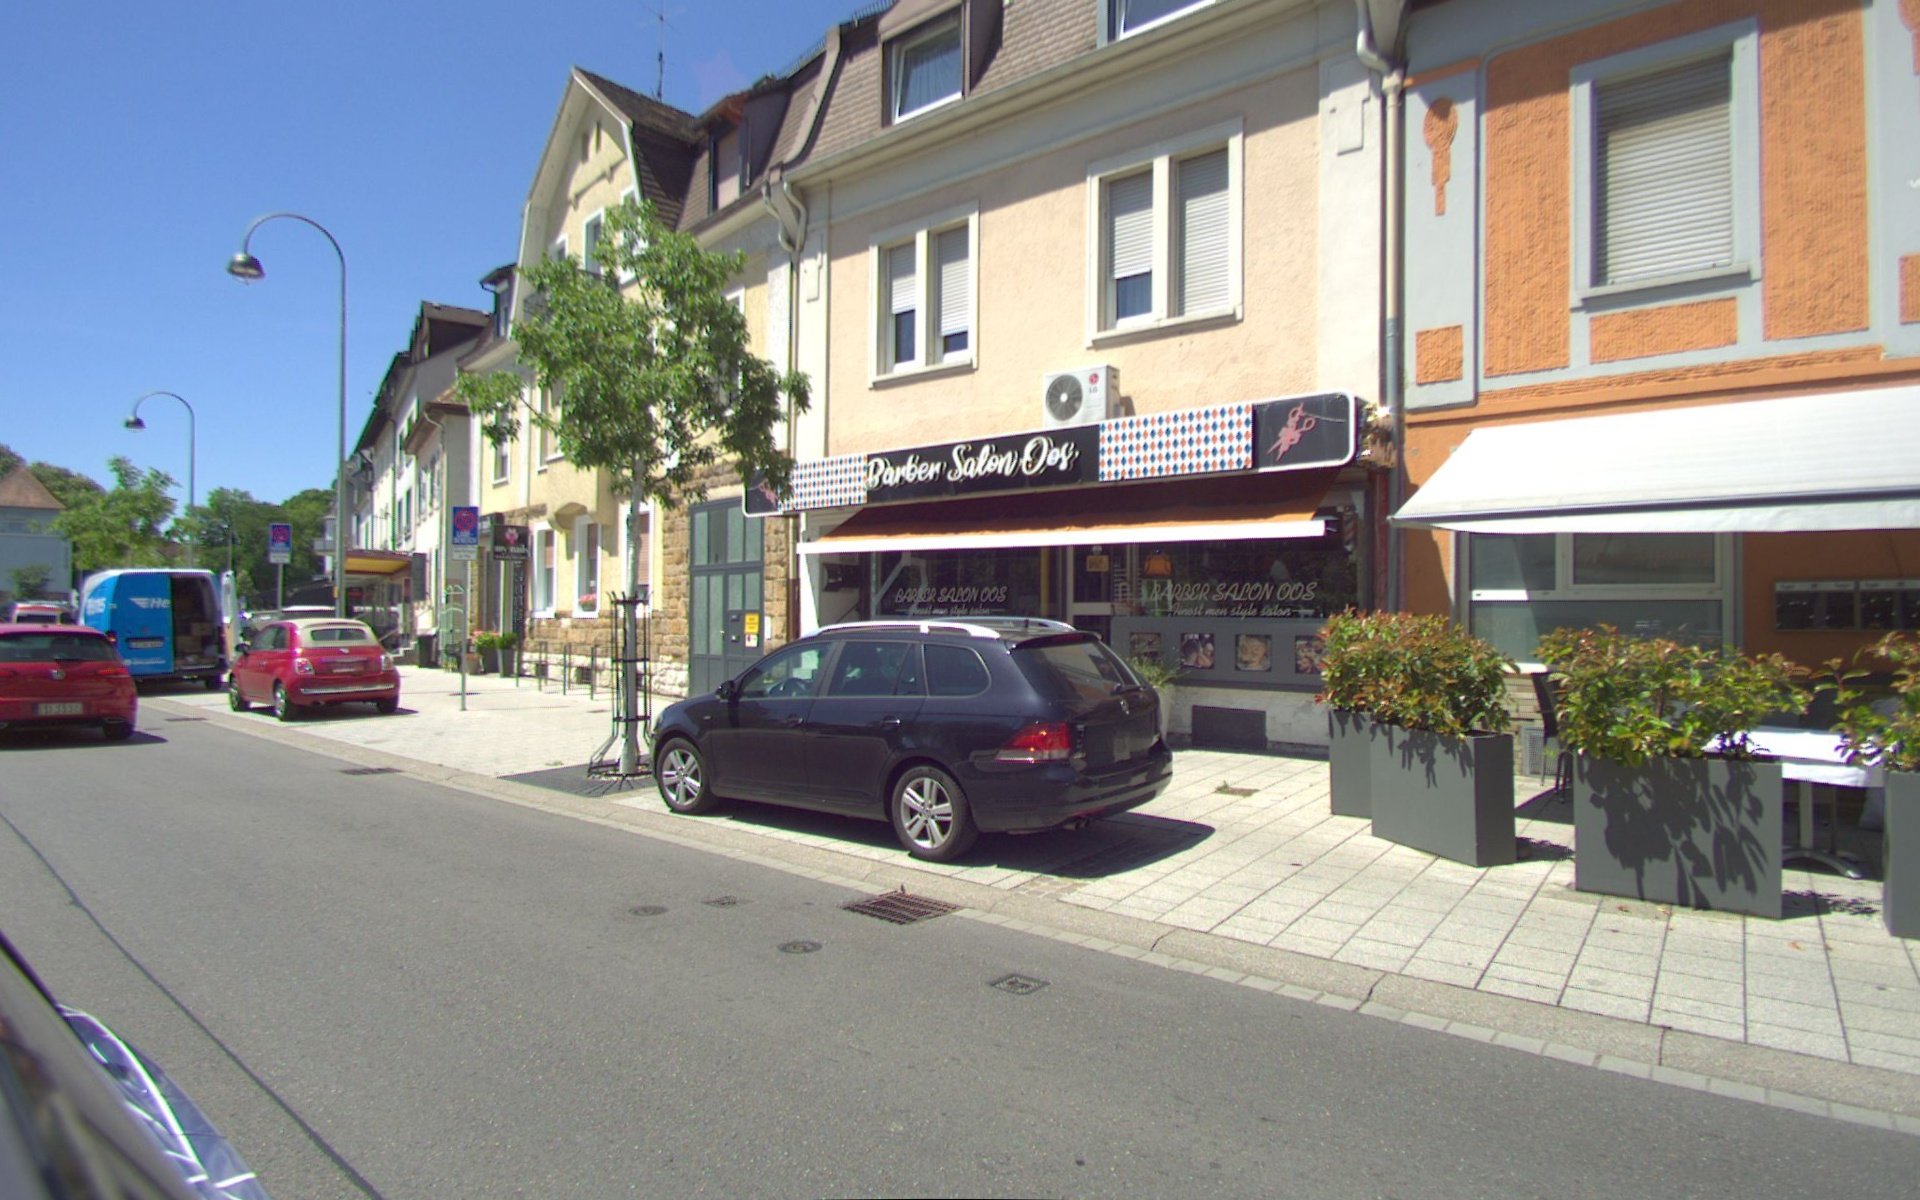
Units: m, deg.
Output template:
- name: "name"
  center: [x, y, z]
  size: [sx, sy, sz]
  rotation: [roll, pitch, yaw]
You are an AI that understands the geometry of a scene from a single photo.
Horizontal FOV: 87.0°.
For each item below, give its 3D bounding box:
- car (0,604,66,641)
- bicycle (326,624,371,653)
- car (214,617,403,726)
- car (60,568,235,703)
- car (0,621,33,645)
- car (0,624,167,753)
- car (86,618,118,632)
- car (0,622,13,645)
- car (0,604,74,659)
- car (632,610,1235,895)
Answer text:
- name: "car"
  center: [-71.793, 1.702, 77.435]
  size: [4.788, 2.757, 1.856]
  rotation: [2, -2, -33]
- name: "bicycle"
  center: [-28.421, 1.774, 47.070]
  size: [1.741, 1.243, 0.618]
  rotation: [-2, 0, -34]
- name: "car"
  center: [-10.512, 1.056, 16.248]
  size: [3.512, 1.532, 1.544]
  rotation: [0, -1, 39]
- name: "car"
  center: [-17.349, 0.696, 21.480]
  size: [5.502, 2.517, 2.070]
  rotation: [-1, -1, 42]
- name: "car"
  center: [-65.727, 2.222, 68.392]
  size: [4.289, 1.563, 1.656]
  rotation: [2, -2, -36]
- name: "car"
  center: [-12.056, 1.052, 13.001]
  size: [3.973, 1.438, 1.898]
  rotation: [-1, -4, 37]
- name: "car"
  center: [-101.529, 2.935, 119.715]
  size: [3.849, 1.465, 1.605]
  rotation: [1, -3, 30]
- name: "car"
  center: [-63.725, 2.126, 65.147]
  size: [3.756, 1.473, 1.656]
  rotation: [3, -3, -34]
- name: "car"
  center: [-42.388, 1.454, 46.597]
  size: [2.129, 2.380, 5.256]
  rotation: [3, -3, -39]
- name: "car"
  center: [-0.385, 0.871, 7.597]
  size: [4.333, 1.493, 1.896]
  rotation: [-1, 0, 39]
